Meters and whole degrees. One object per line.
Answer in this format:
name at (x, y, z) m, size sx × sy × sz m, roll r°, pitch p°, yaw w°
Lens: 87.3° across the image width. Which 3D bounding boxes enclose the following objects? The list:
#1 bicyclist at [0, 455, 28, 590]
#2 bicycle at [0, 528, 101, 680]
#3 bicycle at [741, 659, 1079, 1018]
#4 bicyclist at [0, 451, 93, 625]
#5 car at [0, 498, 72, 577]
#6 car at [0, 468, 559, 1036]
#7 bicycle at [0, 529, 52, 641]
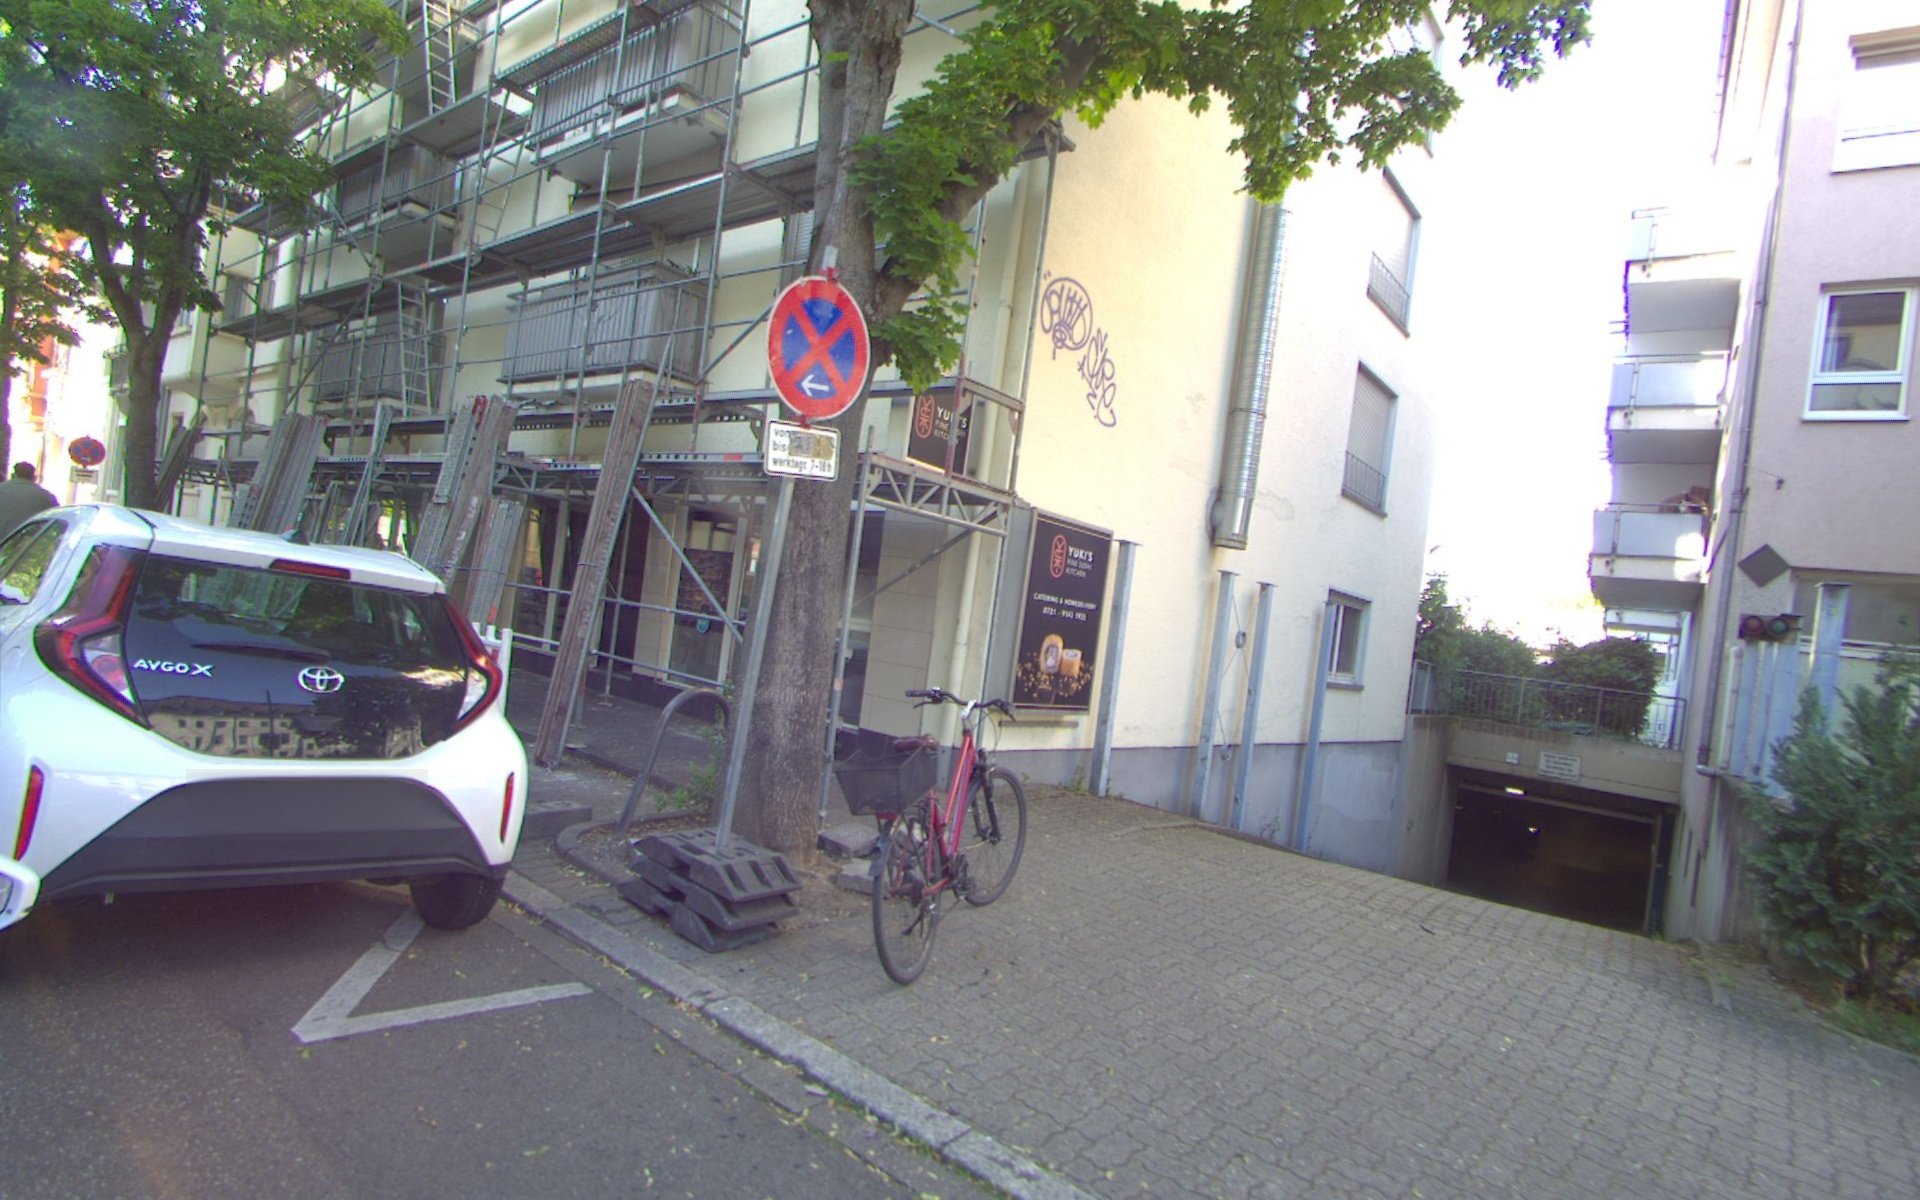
bicyclist at (-10.581, -0.841, 10.811) m, size 0.619 × 1.396 × 0.861 m, roll 5°, pitch -3°, yaw -35°
bicycle at (-9.157, -0.016, 9.762) m, size 0.836 × 1.160 × 2.211 m, roll 14°, pitch -4°, yaw -35°
bicycle at (-0.109, 0.940, 4.745) m, size 0.713 × 1.180 × 1.984 m, roll 7°, pitch 2°, yaw 22°
bicyclist at (-9.160, -0.594, 9.796) m, size 0.876 × 1.579 × 0.861 m, roll 6°, pitch -2°, yaw -35°
car at (-20.772, -1.462, 21.955) m, size 3.333 × 1.424 × 1.557 m, roll 7°, pitch -3°, yaw 42°
car at (-3.466, 0.381, 4.365) m, size 3.355 × 1.562 × 1.675 m, roll 6°, pitch -3°, yaw 40°
bicycle at (-10.773, -0.224, 10.983) m, size 0.834 × 1.162 × 2.213 m, roll 8°, pitch -2°, yaw -34°
